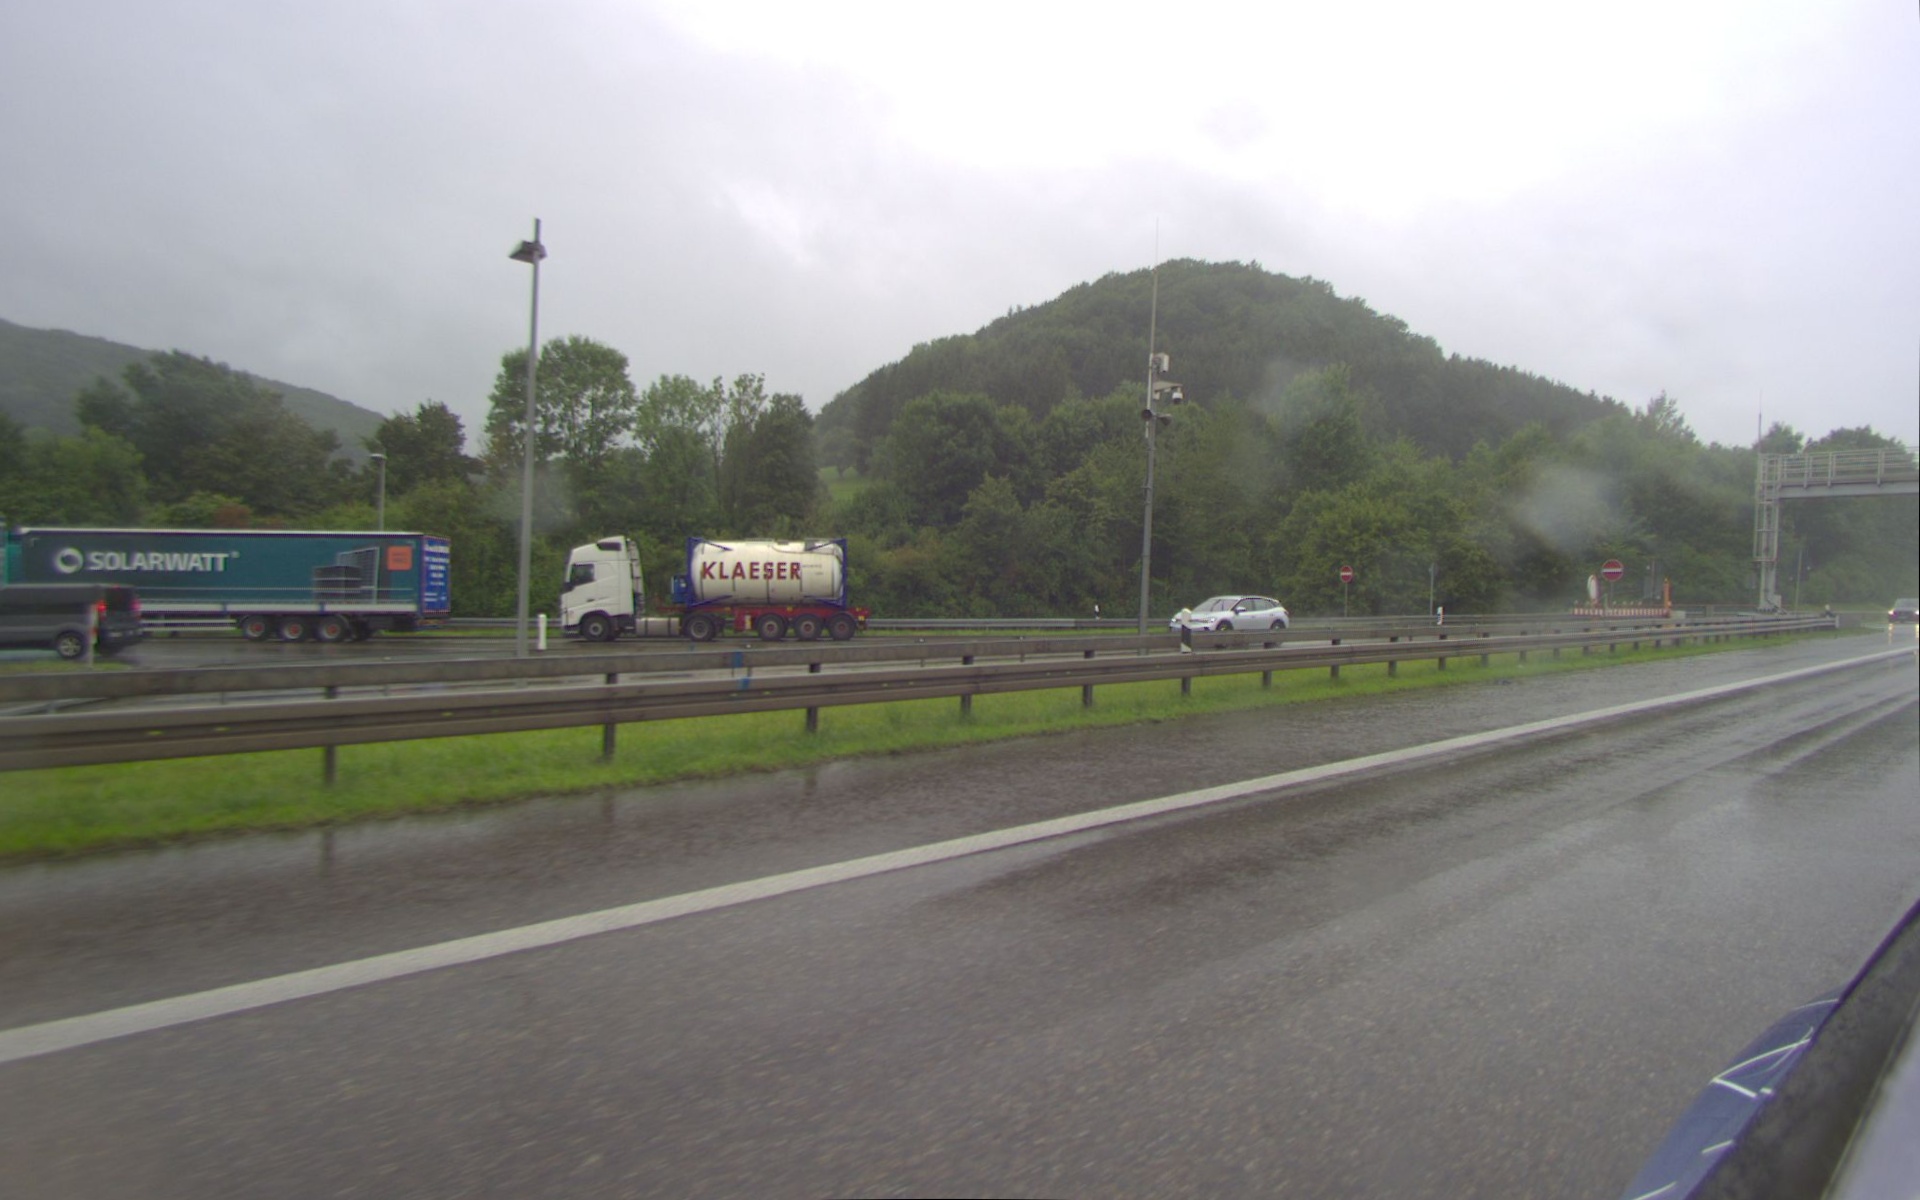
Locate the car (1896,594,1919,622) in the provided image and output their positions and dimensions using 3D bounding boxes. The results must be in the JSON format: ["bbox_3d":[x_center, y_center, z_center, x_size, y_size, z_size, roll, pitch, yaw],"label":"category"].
[{"bbox_3d":[70.725,0.601,74.623,3.926,2.039,1.860,0,0,-37],"label":"car"}]

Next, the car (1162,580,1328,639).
[{"bbox_3d":[9.340,0.259,32.983,5.551,1.772,2.001,0,0,-32],"label":"car"}]

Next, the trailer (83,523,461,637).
[{"bbox_3d":[-24.848,-0.747,37.089,11.513,3.950,2.797,0,0,-6],"label":"trailer"}]

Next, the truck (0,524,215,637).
[{"bbox_3d":[-31.583,-0.687,36.373,7.382,3.916,2.760,0,0,-6],"label":"truck"}]

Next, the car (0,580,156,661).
[{"bbox_3d":[-24.400,0.511,26.410,4.948,2.039,2.004,0,0,-18],"label":"car"}]

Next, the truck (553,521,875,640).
[{"bbox_3d":[-9.194,-0.765,38.892,11.630,4.310,2.883,0,0,-7],"label":"truck"}]
